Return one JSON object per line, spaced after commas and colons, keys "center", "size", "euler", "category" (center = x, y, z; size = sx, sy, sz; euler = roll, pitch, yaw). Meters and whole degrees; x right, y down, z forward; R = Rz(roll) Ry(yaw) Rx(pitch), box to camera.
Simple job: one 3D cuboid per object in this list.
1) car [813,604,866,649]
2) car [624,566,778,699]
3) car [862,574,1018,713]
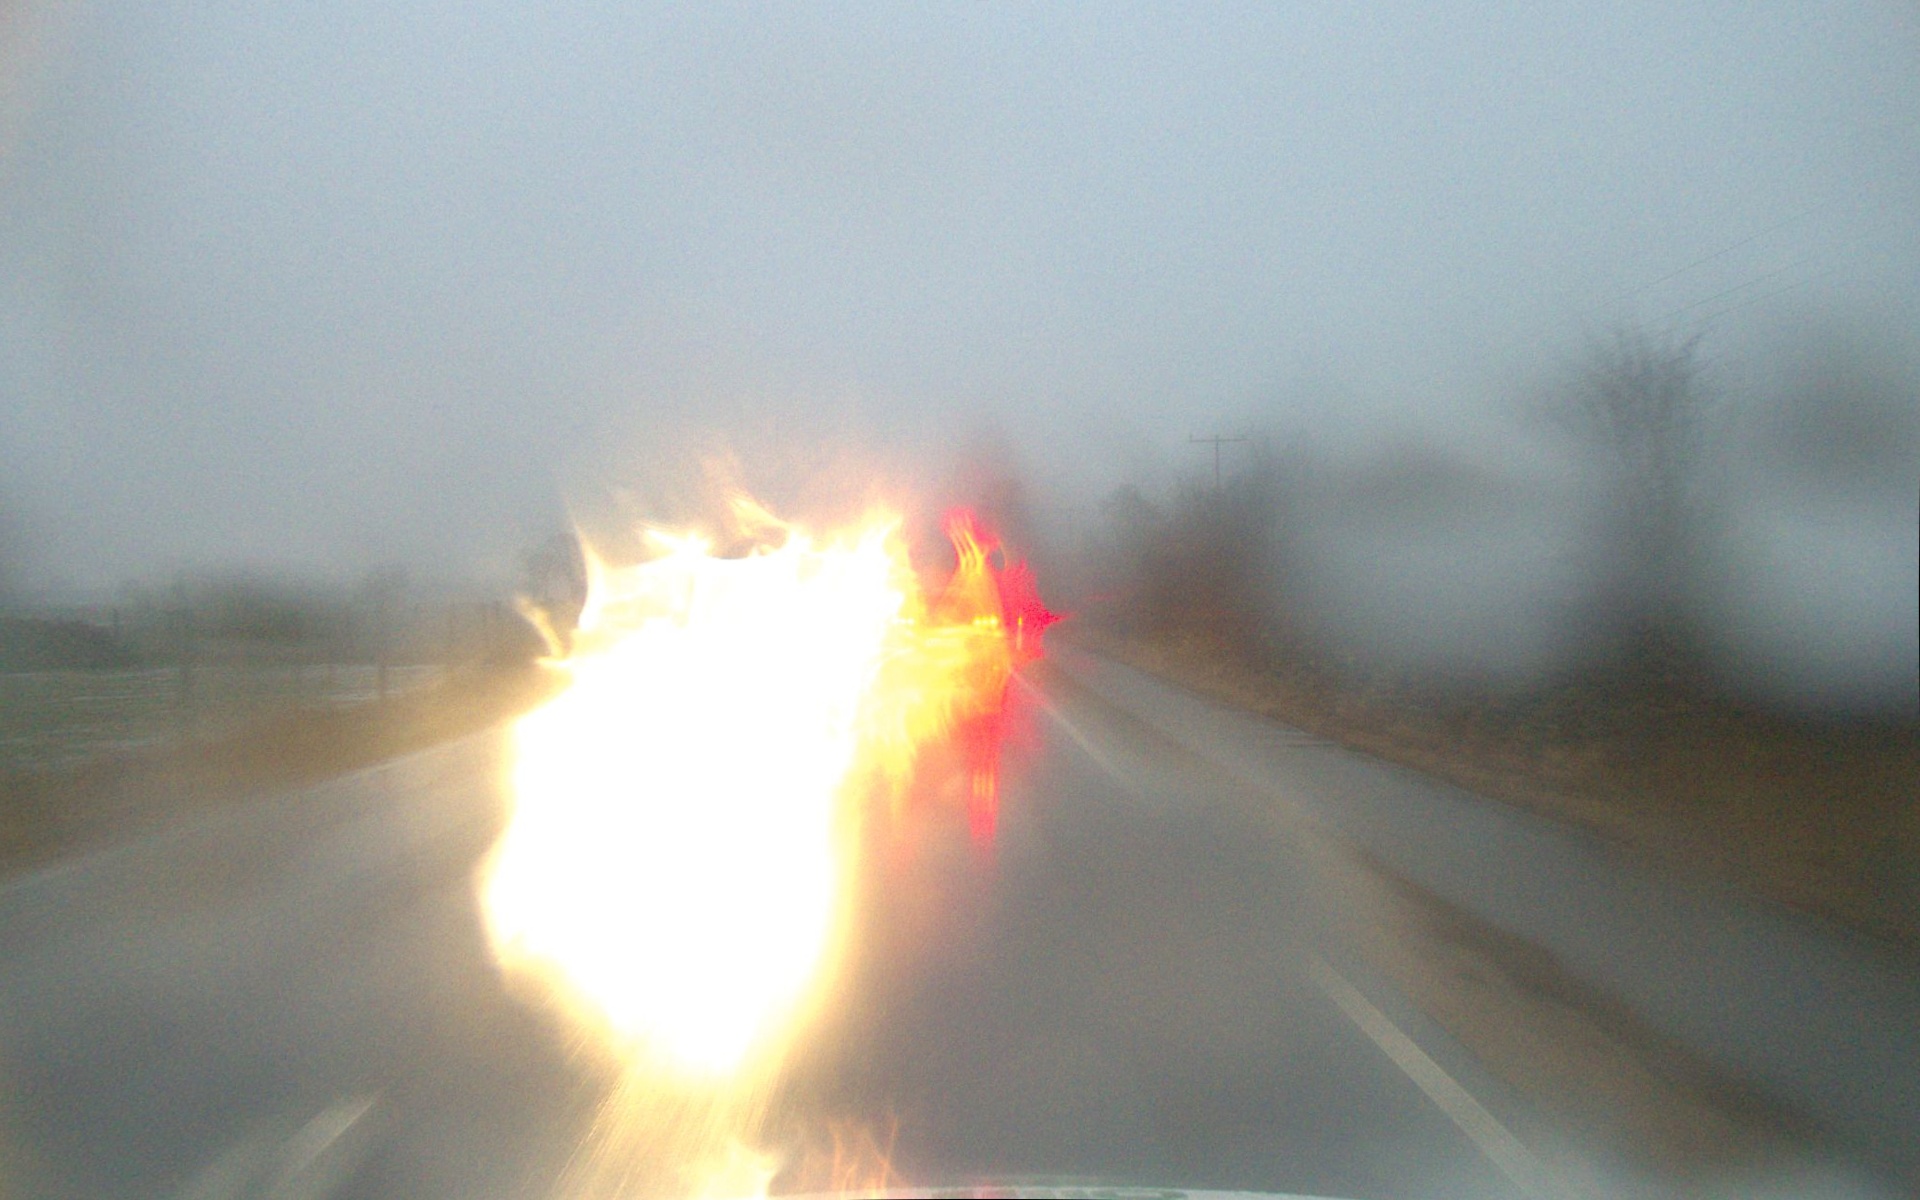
{"center": [-4.365, 0.928, 60.297], "size": [1.654, 1.505, 3.773], "euler": [-1, 0, -1], "category": "car"}
{"center": [-3.946, 0.446, 25.867], "size": [1.787, 1.838, 4.492], "euler": [-2, 0, -2], "category": "car"}
{"center": [-0.298, 0.566, 24.595], "size": [2.077, 1.851, 4.979], "euler": [0, 0, -1], "category": "car"}
